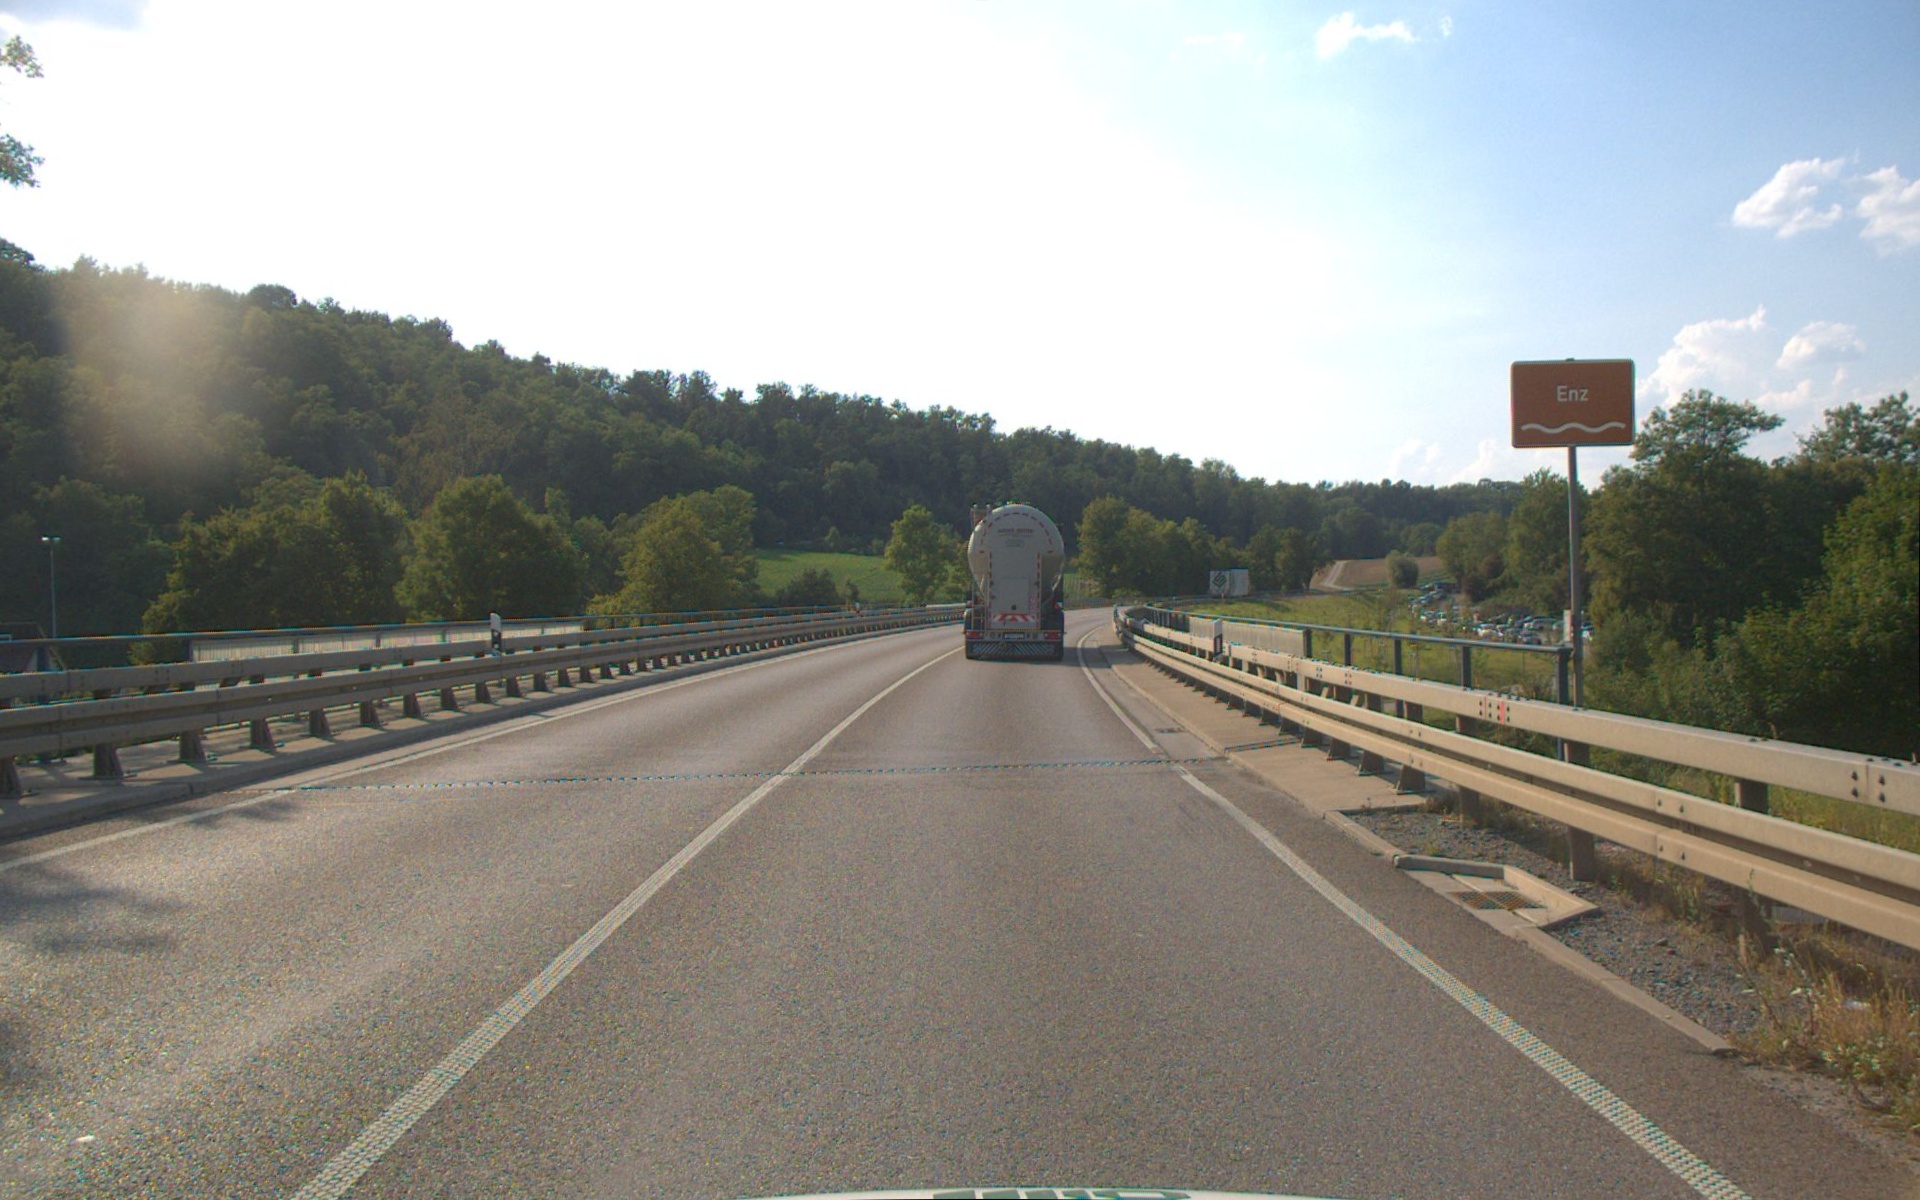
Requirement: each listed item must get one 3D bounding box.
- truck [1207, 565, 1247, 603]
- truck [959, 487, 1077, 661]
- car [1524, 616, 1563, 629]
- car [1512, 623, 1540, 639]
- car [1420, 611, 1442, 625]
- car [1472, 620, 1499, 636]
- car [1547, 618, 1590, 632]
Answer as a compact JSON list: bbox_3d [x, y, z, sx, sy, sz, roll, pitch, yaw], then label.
[{"bbox_3d":[32.480,-2.039,200.637,3.116,4.301,13.182,0,1,16],"label":"truck"},{"bbox_3d":[1.514,-0.686,47.036,2.833,4.215,13.173,1,0,1],"label":"truck"},{"bbox_3d":[70.476,2.764,199.782,4.147,1.481,1.617,1,1,-1],"label":"car"},{"bbox_3d":[58.155,3.213,169.931,1.620,1.523,4.225,0,0,3],"label":"car"},{"bbox_3d":[62.728,2.422,220.364,1.852,1.508,4.786,-4,1,5],"label":"car"},{"bbox_3d":[59.857,3.172,188.407,1.780,1.508,4.258,-2,2,1],"label":"car"},{"bbox_3d":[71.378,2.908,194.035,4.315,1.481,1.733,0,1,-5],"label":"car"}]
